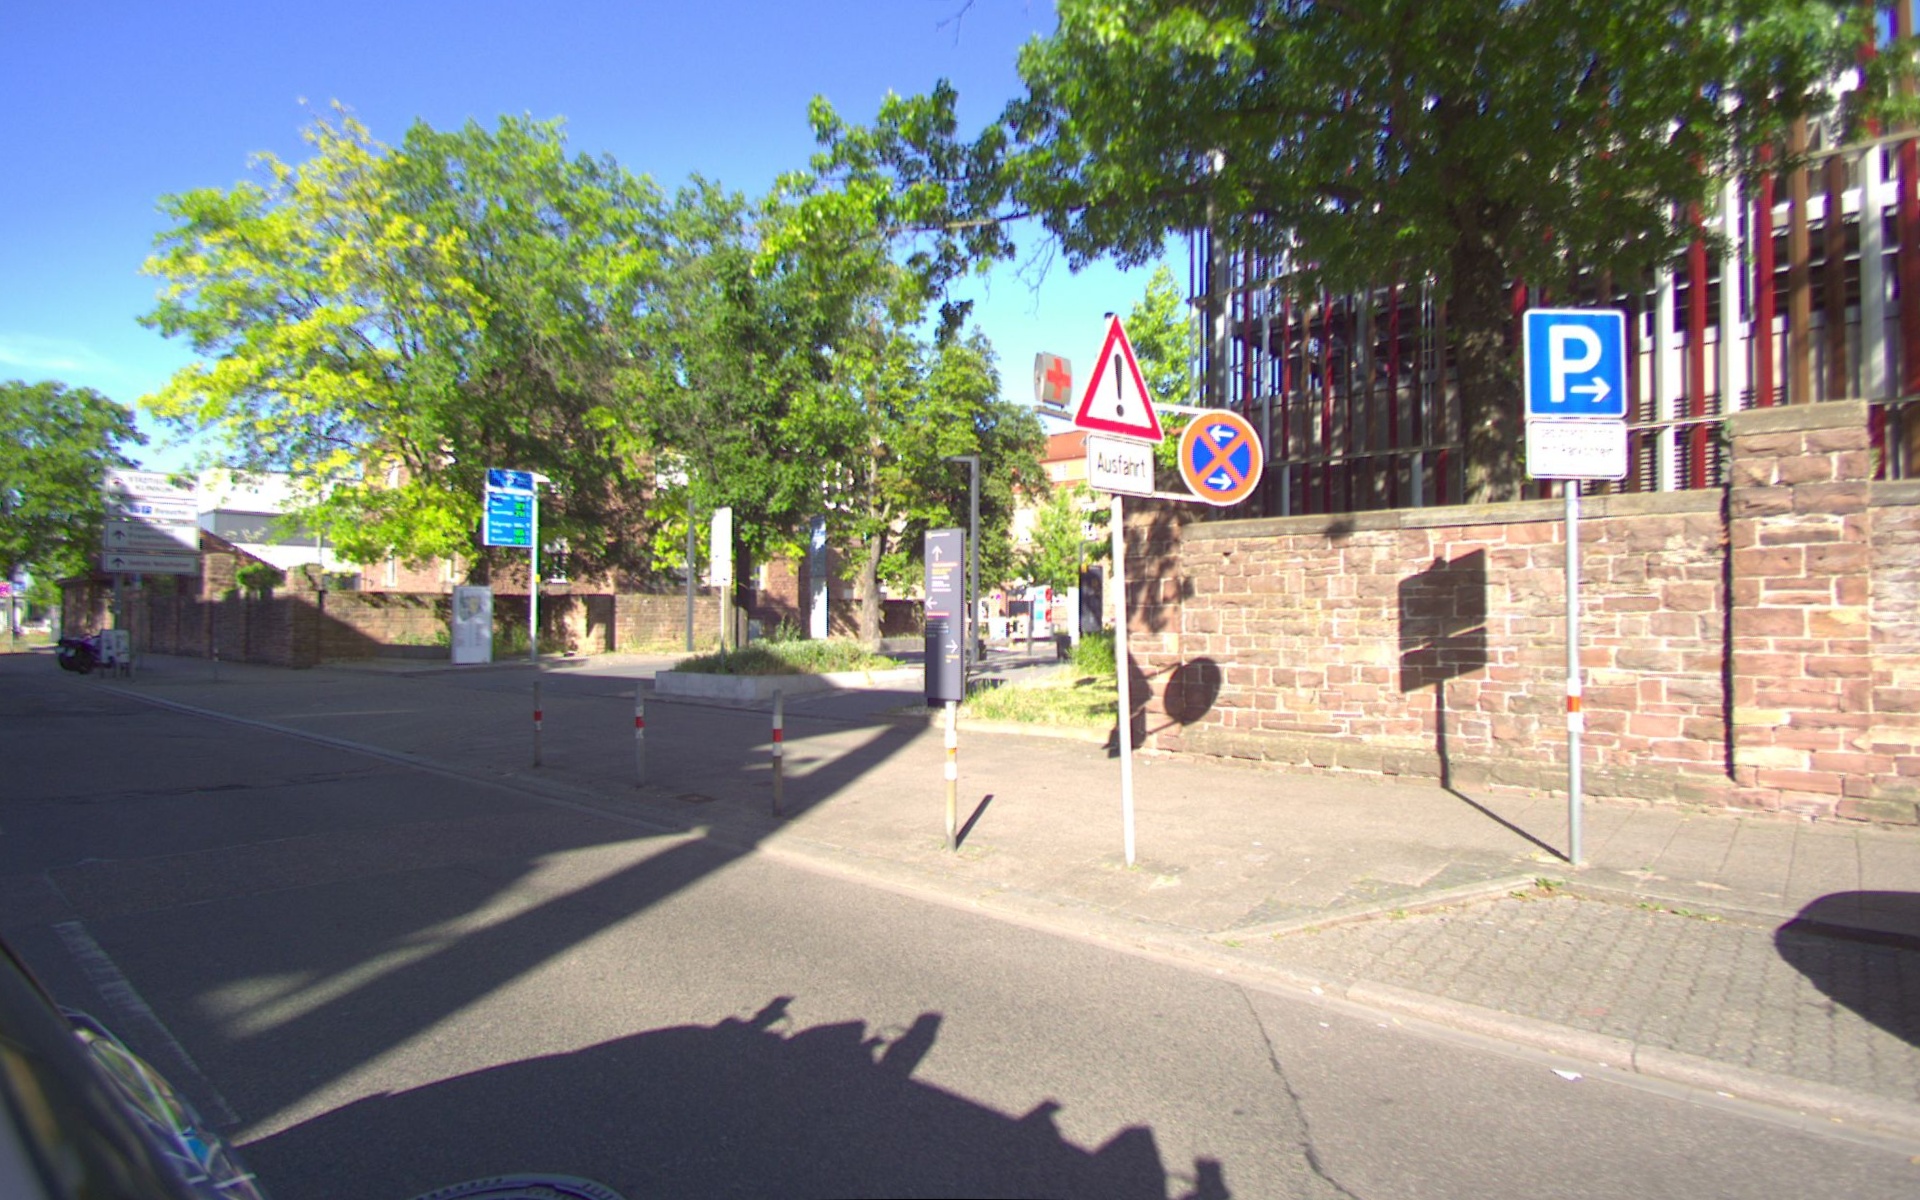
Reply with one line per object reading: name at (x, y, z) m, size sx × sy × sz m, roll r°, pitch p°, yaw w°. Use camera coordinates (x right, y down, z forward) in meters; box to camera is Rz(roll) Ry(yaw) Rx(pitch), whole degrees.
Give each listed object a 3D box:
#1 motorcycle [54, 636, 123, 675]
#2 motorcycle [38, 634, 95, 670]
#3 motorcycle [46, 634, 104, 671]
motorcycle at (-24.781, 1.547, 28.823) m, size 0.591 × 1.040 × 2.133 m, roll 0°, pitch -1°, yaw -14°
motorcycle at (-28.044, 1.612, 31.791) m, size 0.523 × 1.047 × 2.097 m, roll -1°, pitch 0°, yaw -17°
motorcycle at (-26.901, 1.575, 30.791) m, size 0.523 × 1.047 × 2.097 m, roll -1°, pitch 0°, yaw -17°
